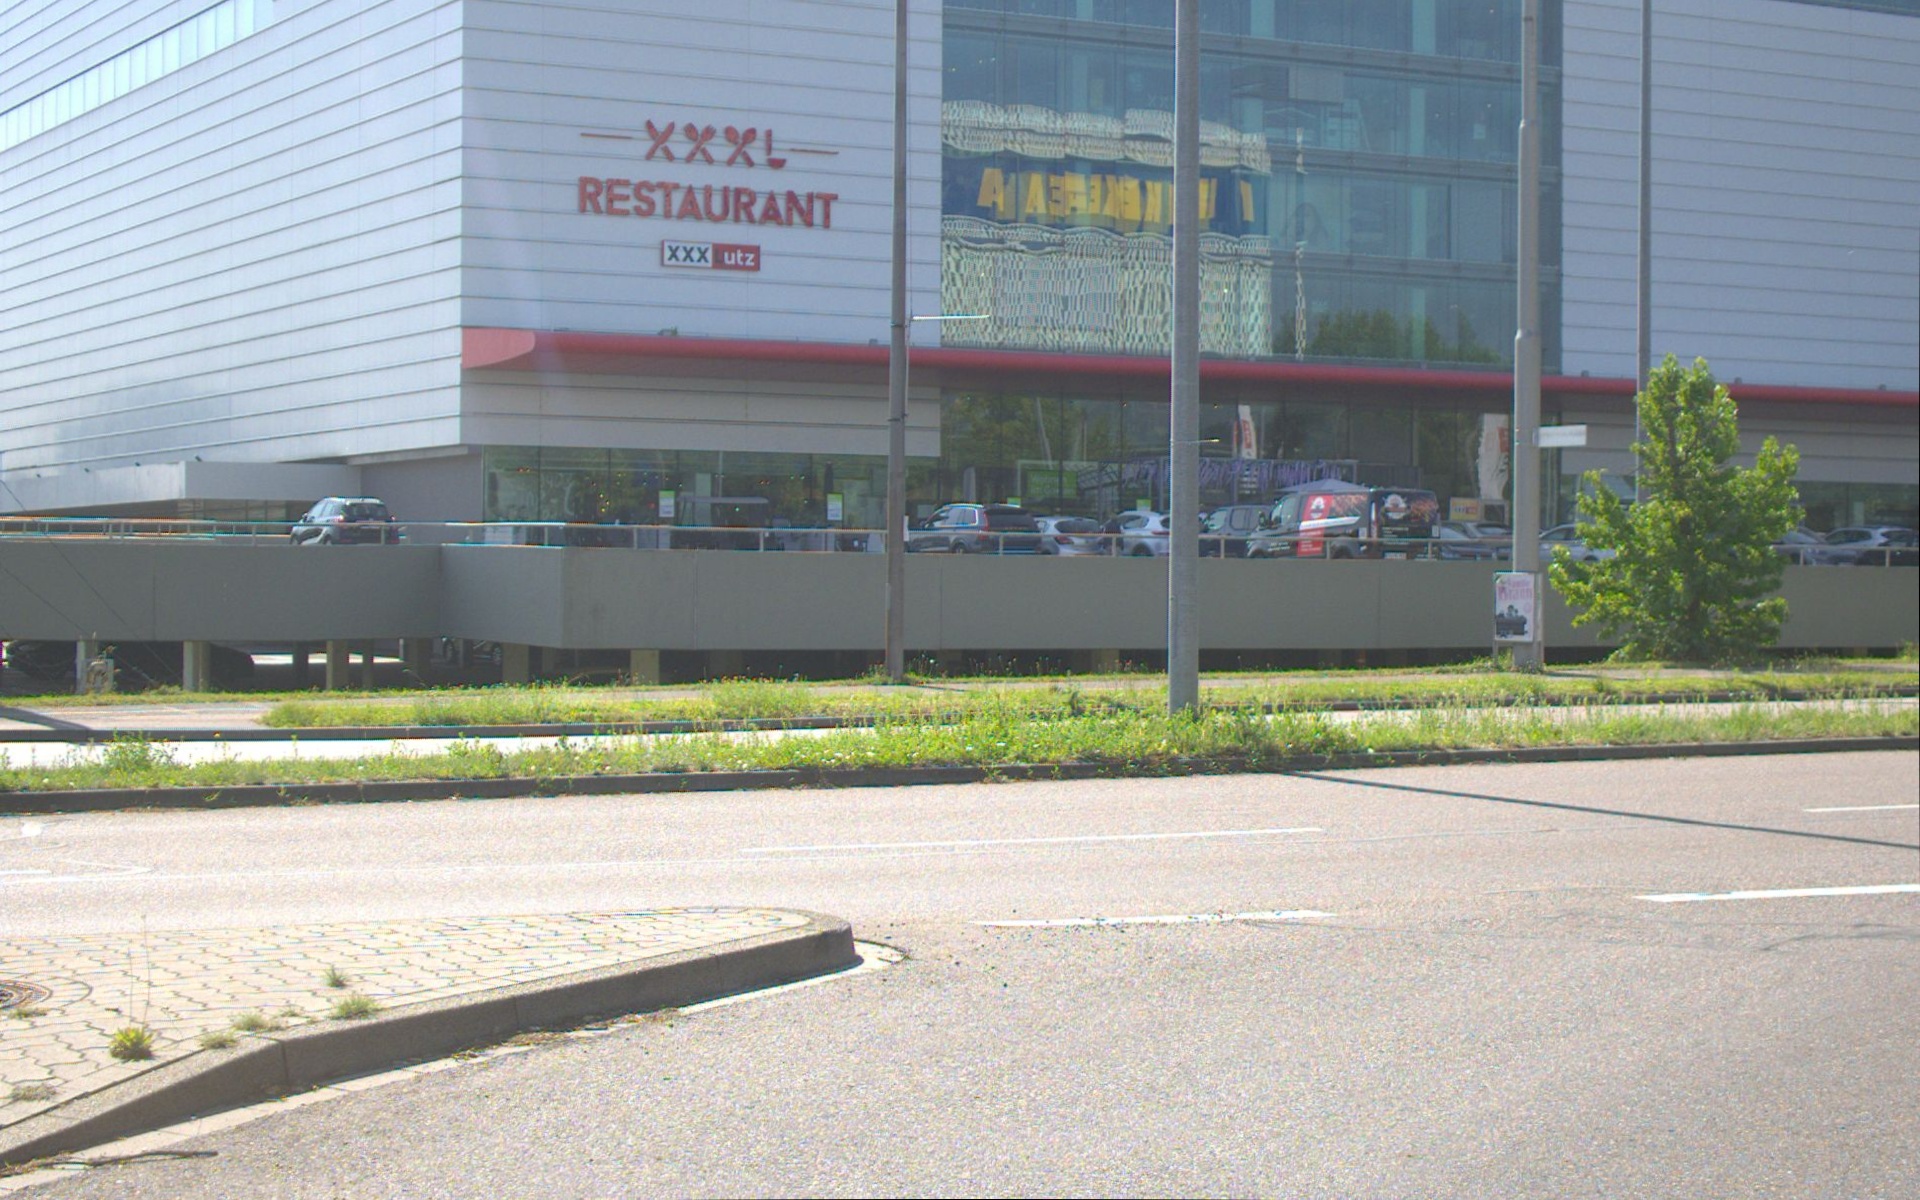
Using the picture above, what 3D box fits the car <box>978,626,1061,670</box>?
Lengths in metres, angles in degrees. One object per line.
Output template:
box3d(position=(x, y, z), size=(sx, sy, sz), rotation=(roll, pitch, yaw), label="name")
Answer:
box3d(position=(1.400, 1.119, 80.882), size=(1.068, 0.972, 1.943), rotation=(1, 0, -32), label="car")

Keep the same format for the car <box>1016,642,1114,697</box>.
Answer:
box3d(position=(1.968, 1.309, 64.746), size=(0.907, 0.972, 1.943), rotation=(1, 0, -32), label="car")

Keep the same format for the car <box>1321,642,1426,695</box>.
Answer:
box3d(position=(8.170, 1.348, 67.972), size=(1.068, 0.972, 1.943), rotation=(1, 0, -32), label="car")

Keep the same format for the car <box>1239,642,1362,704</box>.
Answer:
box3d(position=(5.696, 1.213, 57.597), size=(1.068, 0.972, 1.943), rotation=(1, 0, -32), label="car")

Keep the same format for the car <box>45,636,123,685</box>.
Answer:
box3d(position=(-18.225, 1.251, 71.509), size=(0.927, 0.972, 1.943), rotation=(1, 0, -35), label="car")

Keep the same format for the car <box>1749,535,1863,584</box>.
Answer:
box3d(position=(23.887, -1.153, 97.113), size=(1.297, 1.325, 3.145), rotation=(1, 0, -30), label="car")

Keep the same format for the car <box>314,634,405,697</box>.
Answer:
box3d(position=(-9.851, 1.065, 56.368), size=(0.884, 0.972, 1.943), rotation=(1, 0, -29), label="car")

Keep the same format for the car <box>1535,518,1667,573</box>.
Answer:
box3d(position=(16.132, -1.371, 86.592), size=(1.510, 1.325, 3.225), rotation=(1, 0, -30), label="car")

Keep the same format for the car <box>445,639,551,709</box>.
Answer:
box3d(position=(-6.820, 1.082, 50.697), size=(0.863, 0.972, 1.848), rotation=(1, 0, -32), label="car")

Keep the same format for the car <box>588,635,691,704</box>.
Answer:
box3d(position=(-4.337, 0.935, 46.503), size=(0.790, 0.879, 1.506), rotation=(1, 0, -32), label="car")

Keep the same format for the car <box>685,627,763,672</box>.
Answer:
box3d(position=(-5.394, 1.120, 78.534), size=(0.957, 0.972, 1.943), rotation=(1, 0, -32), label="car")

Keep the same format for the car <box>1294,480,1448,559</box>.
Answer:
box3d(position=(8.331, -1.627, 69.791), size=(1.768, 1.551, 2.776), rotation=(-1, 1, -30), label="car")

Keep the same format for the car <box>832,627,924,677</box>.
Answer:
box3d(position=(-1.726, 1.082, 71.649), size=(1.068, 0.972, 1.943), rotation=(1, 0, -32), label="car")

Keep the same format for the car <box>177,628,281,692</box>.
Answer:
box3d(position=(-11.768, 0.954, 55.297), size=(1.068, 0.972, 1.943), rotation=(0, 1, -30), label="car")

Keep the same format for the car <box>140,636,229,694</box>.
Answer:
box3d(position=(-14.609, 1.215, 64.759), size=(1.068, 1.036, 1.943), rotation=(0, 1, -32), label="car")

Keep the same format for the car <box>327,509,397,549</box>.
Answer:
box3d(position=(-15.087, -1.794, 86.732), size=(1.068, 0.972, 1.943), rotation=(1, 0, -32), label="car")

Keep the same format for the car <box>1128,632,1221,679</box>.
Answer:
box3d(position=(4.676, 1.206, 75.042), size=(1.068, 0.972, 1.943), rotation=(1, 0, -32), label="car")

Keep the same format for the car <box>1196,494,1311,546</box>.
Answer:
box3d(position=(7.782, -2.122, 91.355), size=(1.510, 1.325, 3.098), rotation=(1, 0, -30), label="car")

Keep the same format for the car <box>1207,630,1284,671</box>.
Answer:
box3d(position=(7.069, 1.254, 85.329), size=(0.919, 0.972, 1.943), rotation=(1, 0, -32), label="car")

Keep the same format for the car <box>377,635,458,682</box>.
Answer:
box3d(position=(-11.836, 1.280, 74.997), size=(1.068, 0.972, 1.943), rotation=(1, 0, -32), label="car")

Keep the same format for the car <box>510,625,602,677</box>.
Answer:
box3d(position=(-8.017, 1.014, 68.195), size=(1.068, 0.972, 1.943), rotation=(1, 0, -32), label="car")

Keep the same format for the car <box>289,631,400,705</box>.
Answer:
box3d(position=(-8.898, 0.973, 49.654), size=(1.067, 1.005, 1.943), rotation=(0, 1, -27), label="car")

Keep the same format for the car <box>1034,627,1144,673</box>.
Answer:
box3d(position=(1.870, 0.722, 49.939), size=(0.855, 0.618, 1.564), rotation=(1, 0, -32), label="car")

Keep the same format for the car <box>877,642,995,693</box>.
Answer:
box3d(position=(-0.394, 1.059, 54.207), size=(0.904, 0.731, 2.088), rotation=(1, 0, -32), label="car")

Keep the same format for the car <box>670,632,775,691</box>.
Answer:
box3d(position=(-4.225, 1.090, 61.135), size=(1.068, 0.972, 1.943), rotation=(1, 0, -32), label="car")

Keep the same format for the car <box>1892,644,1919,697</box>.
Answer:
box3d(position=(18.573, 1.332, 64.375), size=(1.068, 0.972, 1.943), rotation=(1, 0, -32), label="car")

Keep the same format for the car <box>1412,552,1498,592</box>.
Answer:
box3d(position=(12.055, -0.680, 83.762), size=(1.068, 0.972, 1.943), rotation=(0, 1, -32), label="car")

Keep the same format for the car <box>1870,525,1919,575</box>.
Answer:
box3d(position=(26.282, -1.331, 92.889), size=(1.510, 1.325, 3.098), rotation=(1, 0, -30), label="car")

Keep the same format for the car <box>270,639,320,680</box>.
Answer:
box3d(position=(-15.853, 1.411, 81.925), size=(0.753, 0.924, 1.290), rotation=(1, 0, -32), label="car")

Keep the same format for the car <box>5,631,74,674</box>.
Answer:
box3d(position=(-22.034, 1.253, 82.234), size=(1.068, 0.972, 1.943), rotation=(1, 0, -32), label="car")

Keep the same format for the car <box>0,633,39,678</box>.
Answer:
box3d(position=(-21.965, 1.270, 78.906), size=(1.068, 0.972, 1.943), rotation=(1, 0, -32), label="car")

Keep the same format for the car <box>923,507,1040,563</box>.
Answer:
box3d(position=(0.513, -1.576, 84.066), size=(1.510, 1.325, 3.021), rotation=(1, 0, -30), label="car")
